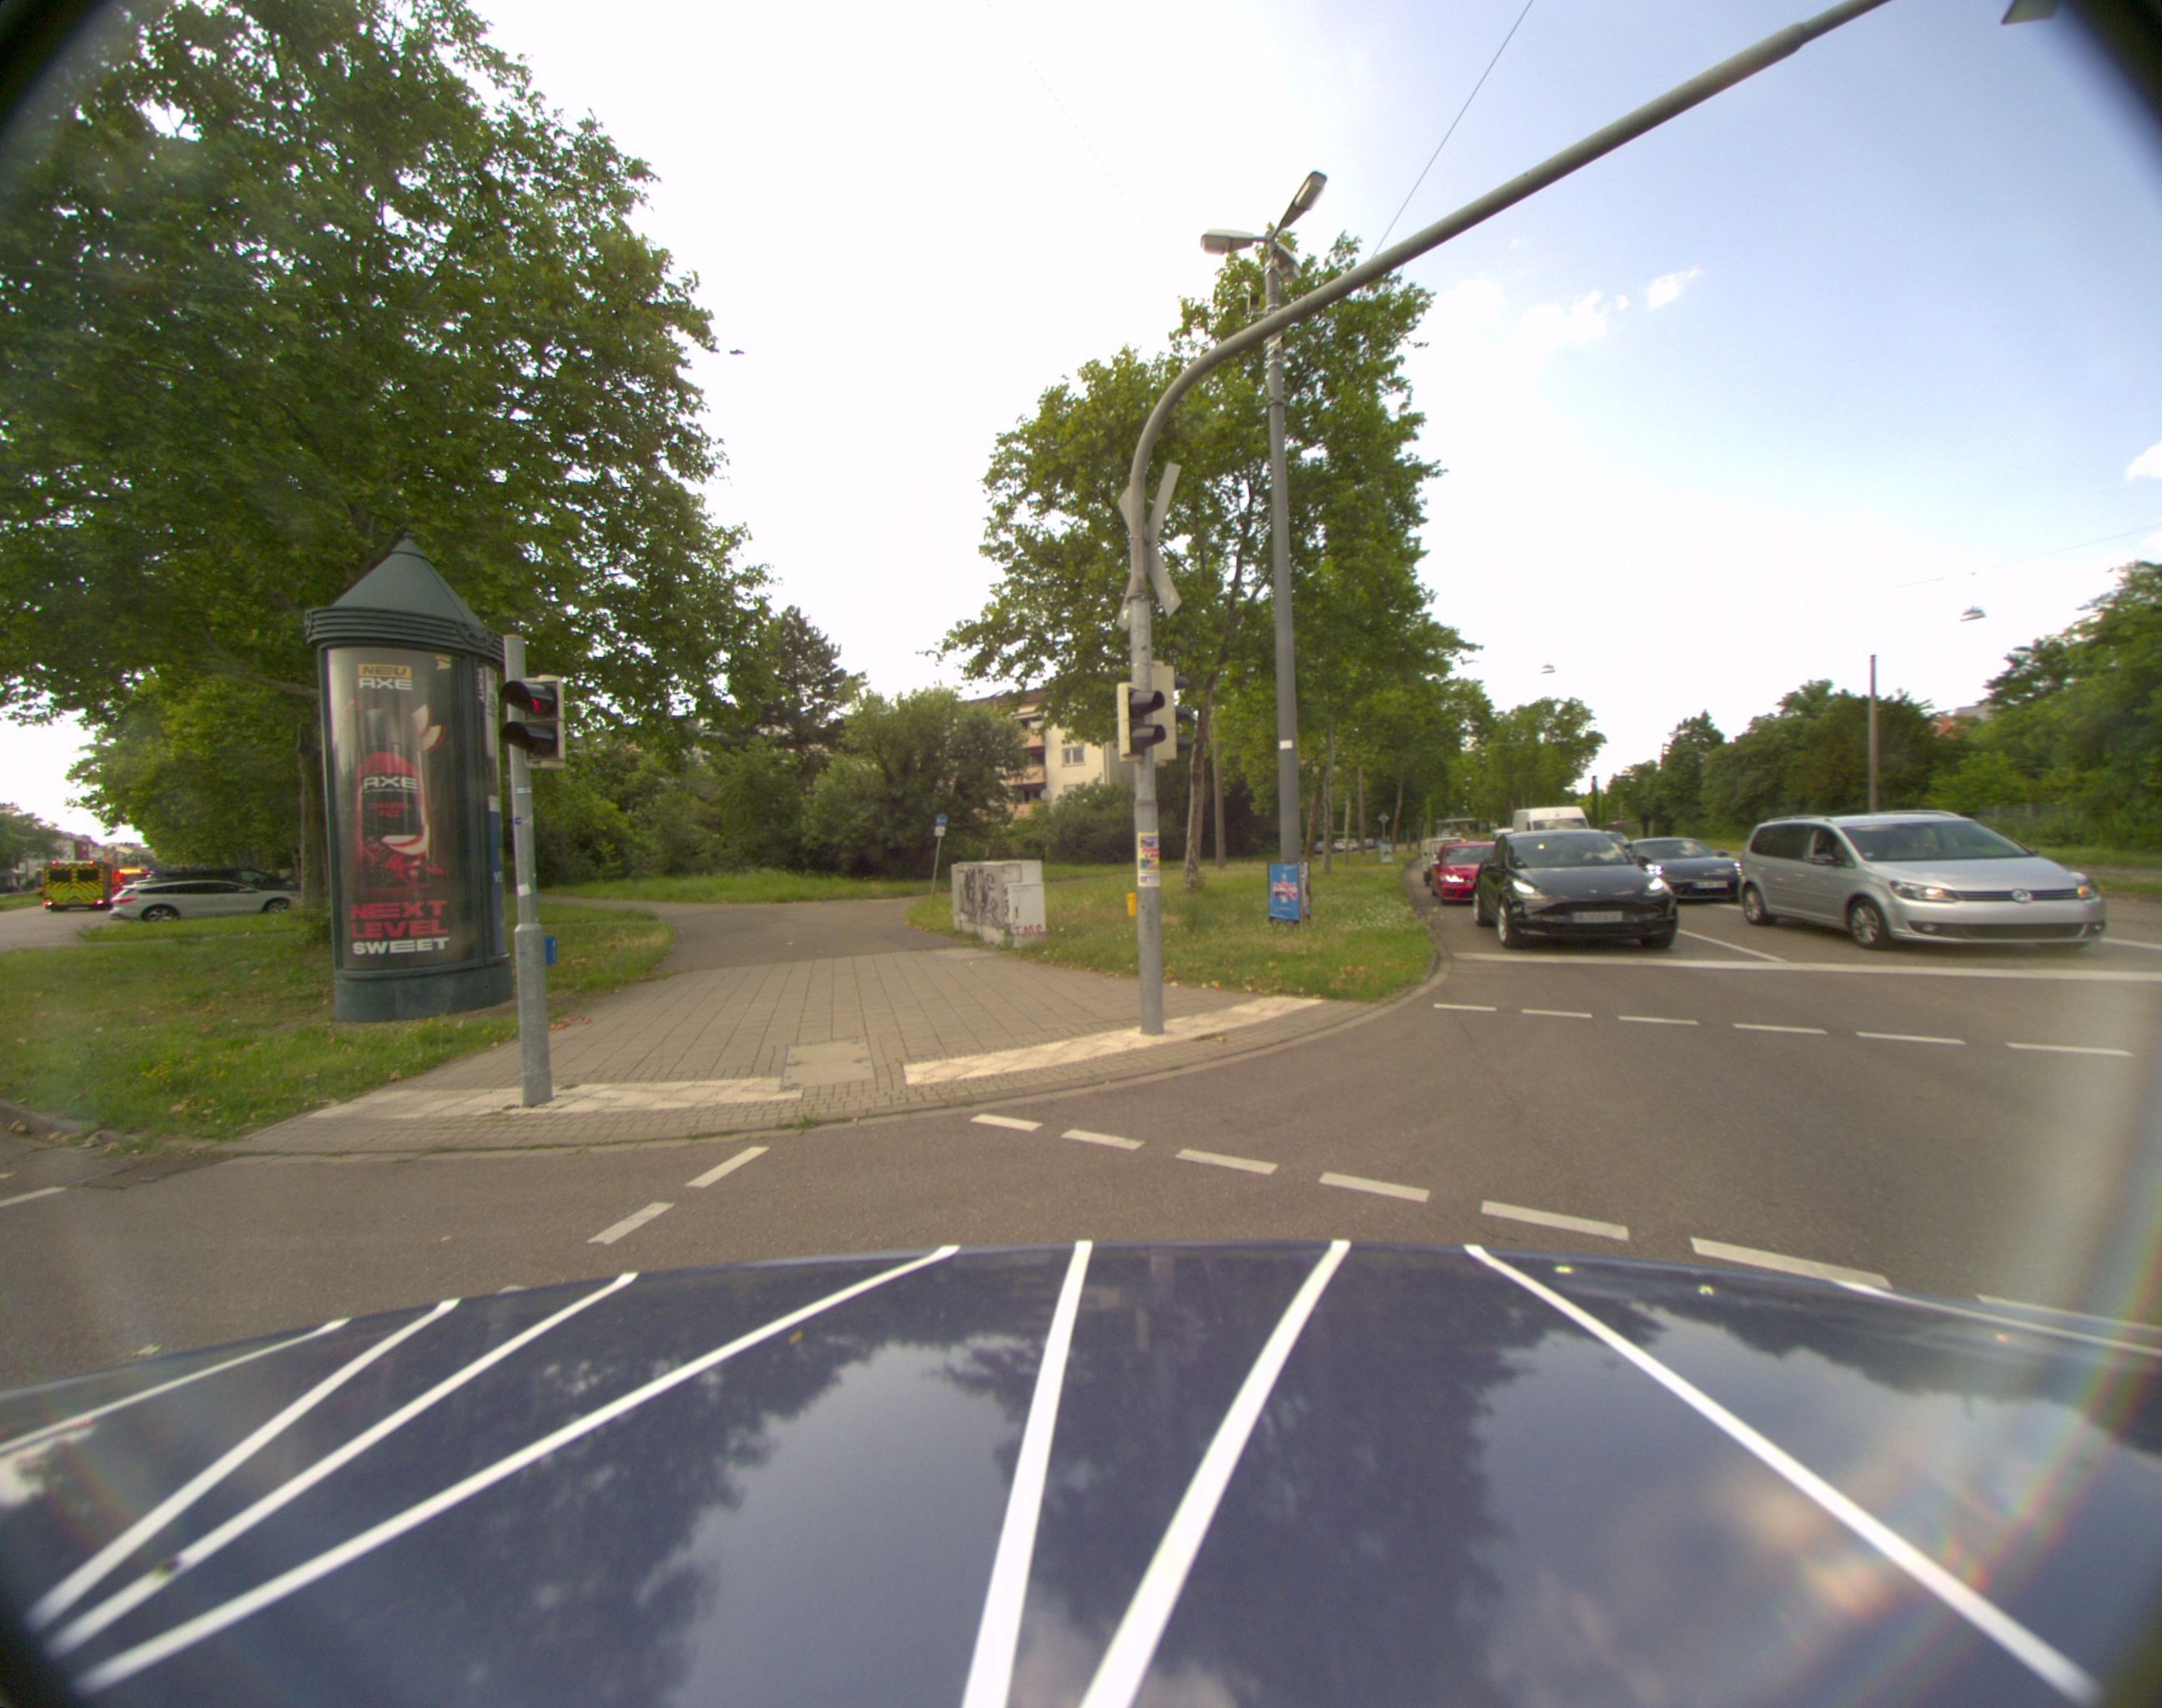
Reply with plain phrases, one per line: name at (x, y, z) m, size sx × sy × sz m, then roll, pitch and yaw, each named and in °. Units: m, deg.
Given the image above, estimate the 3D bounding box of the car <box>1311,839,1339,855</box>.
car at (25.937, -0.752, 80.767) m, size 1.772 × 1.586 × 3.664 m, roll -2°, pitch -1°, yaw 36°

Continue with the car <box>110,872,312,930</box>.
car at (-30.742, 1.614, 27.024) m, size 1.995 × 1.634 × 4.552 m, roll -3°, pitch 0°, yaw 40°

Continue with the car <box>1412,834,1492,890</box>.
car at (11.918, 0.197, 24.682) m, size 1.798 × 1.561 × 4.507 m, roll -3°, pitch 1°, yaw 20°

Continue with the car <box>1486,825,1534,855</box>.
car at (25.410, -0.835, 45.172) m, size 1.761 × 1.637 × 4.349 m, roll -2°, pitch 1°, yaw 20°

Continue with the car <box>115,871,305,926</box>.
car at (-32.705, 1.622, 28.695) m, size 1.995 × 1.634 × 4.552 m, roll -3°, pitch 0°, yaw 40°

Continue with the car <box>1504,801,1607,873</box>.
car at (18.884, -0.681, 30.572) m, size 2.223 × 2.515 × 5.940 m, roll -3°, pitch 1°, yaw 20°

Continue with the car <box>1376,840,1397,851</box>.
car at (43.461, -1.185, 108.053) m, size 1.772 × 1.586 × 3.664 m, roll -2°, pitch -1°, yaw 36°

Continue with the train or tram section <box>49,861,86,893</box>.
train or tram section at (-123.831, 2.786, 92.814) m, size 7.401 × 3.576 × 2.500 m, roll -1°, pitch 2°, yaw 36°

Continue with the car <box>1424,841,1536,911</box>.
car at (9.667, 0.460, 18.733) m, size 1.798 × 1.383 × 4.507 m, roll -3°, pitch 1°, yaw 20°

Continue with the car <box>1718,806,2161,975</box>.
car at (10.483, 0.346, 9.850) m, size 1.927 × 1.642 × 4.507 m, roll -3°, pitch 1°, yaw 20°

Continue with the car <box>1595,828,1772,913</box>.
car at (12.546, 0.276, 16.137) m, size 1.801 × 1.499 × 4.005 m, roll -4°, pitch 0°, yaw 22°

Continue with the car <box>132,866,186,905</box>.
car at (-83.934, 2.843, 69.241) m, size 7.438 × 3.297 × 2.981 m, roll -2°, pitch -1°, yaw 40°

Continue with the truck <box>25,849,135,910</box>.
truck at (-60.596, 1.482, 46.206) m, size 7.501 × 3.298 × 3.200 m, roll -1°, pitch 2°, yaw 43°

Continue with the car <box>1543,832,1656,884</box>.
car at (15.580, 0.063, 23.099) m, size 1.761 × 1.367 × 4.349 m, roll -3°, pitch 1°, yaw 20°

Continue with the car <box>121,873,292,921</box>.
car at (-36.670, 1.745, 32.010) m, size 1.995 × 1.634 × 4.552 m, roll -3°, pitch 0°, yaw 40°

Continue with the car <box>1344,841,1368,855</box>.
car at (33.360, -0.740, 92.010) m, size 1.772 × 1.586 × 3.664 m, roll -2°, pitch -1°, yaw 36°

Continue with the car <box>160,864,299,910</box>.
car at (-43.512, 1.637, 38.976) m, size 1.994 × 2.002 × 4.565 m, roll -2°, pitch 1°, yaw 42°

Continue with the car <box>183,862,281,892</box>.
car at (-100.627, 2.684, 90.208) m, size 2.967 × 3.310 × 7.475 m, roll -2°, pitch -1°, yaw 37°

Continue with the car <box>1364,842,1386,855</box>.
car at (39.269, -0.724, 101.348) m, size 1.772 × 1.586 × 3.664 m, roll -2°, pitch -1°, yaw 36°

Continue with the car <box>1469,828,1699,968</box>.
car at (7.172, 0.500, 11.396) m, size 1.927 × 1.642 × 4.586 m, roll -3°, pitch 1°, yaw 22°

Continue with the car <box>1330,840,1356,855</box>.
car at (30.565, -0.732, 88.576) m, size 1.772 × 1.586 × 3.664 m, roll -2°, pitch -1°, yaw 36°

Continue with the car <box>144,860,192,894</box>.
car at (-93.472, 2.323, 77.847) m, size 7.438 × 3.310 × 2.981 m, roll -2°, pitch -1°, yaw 40°
